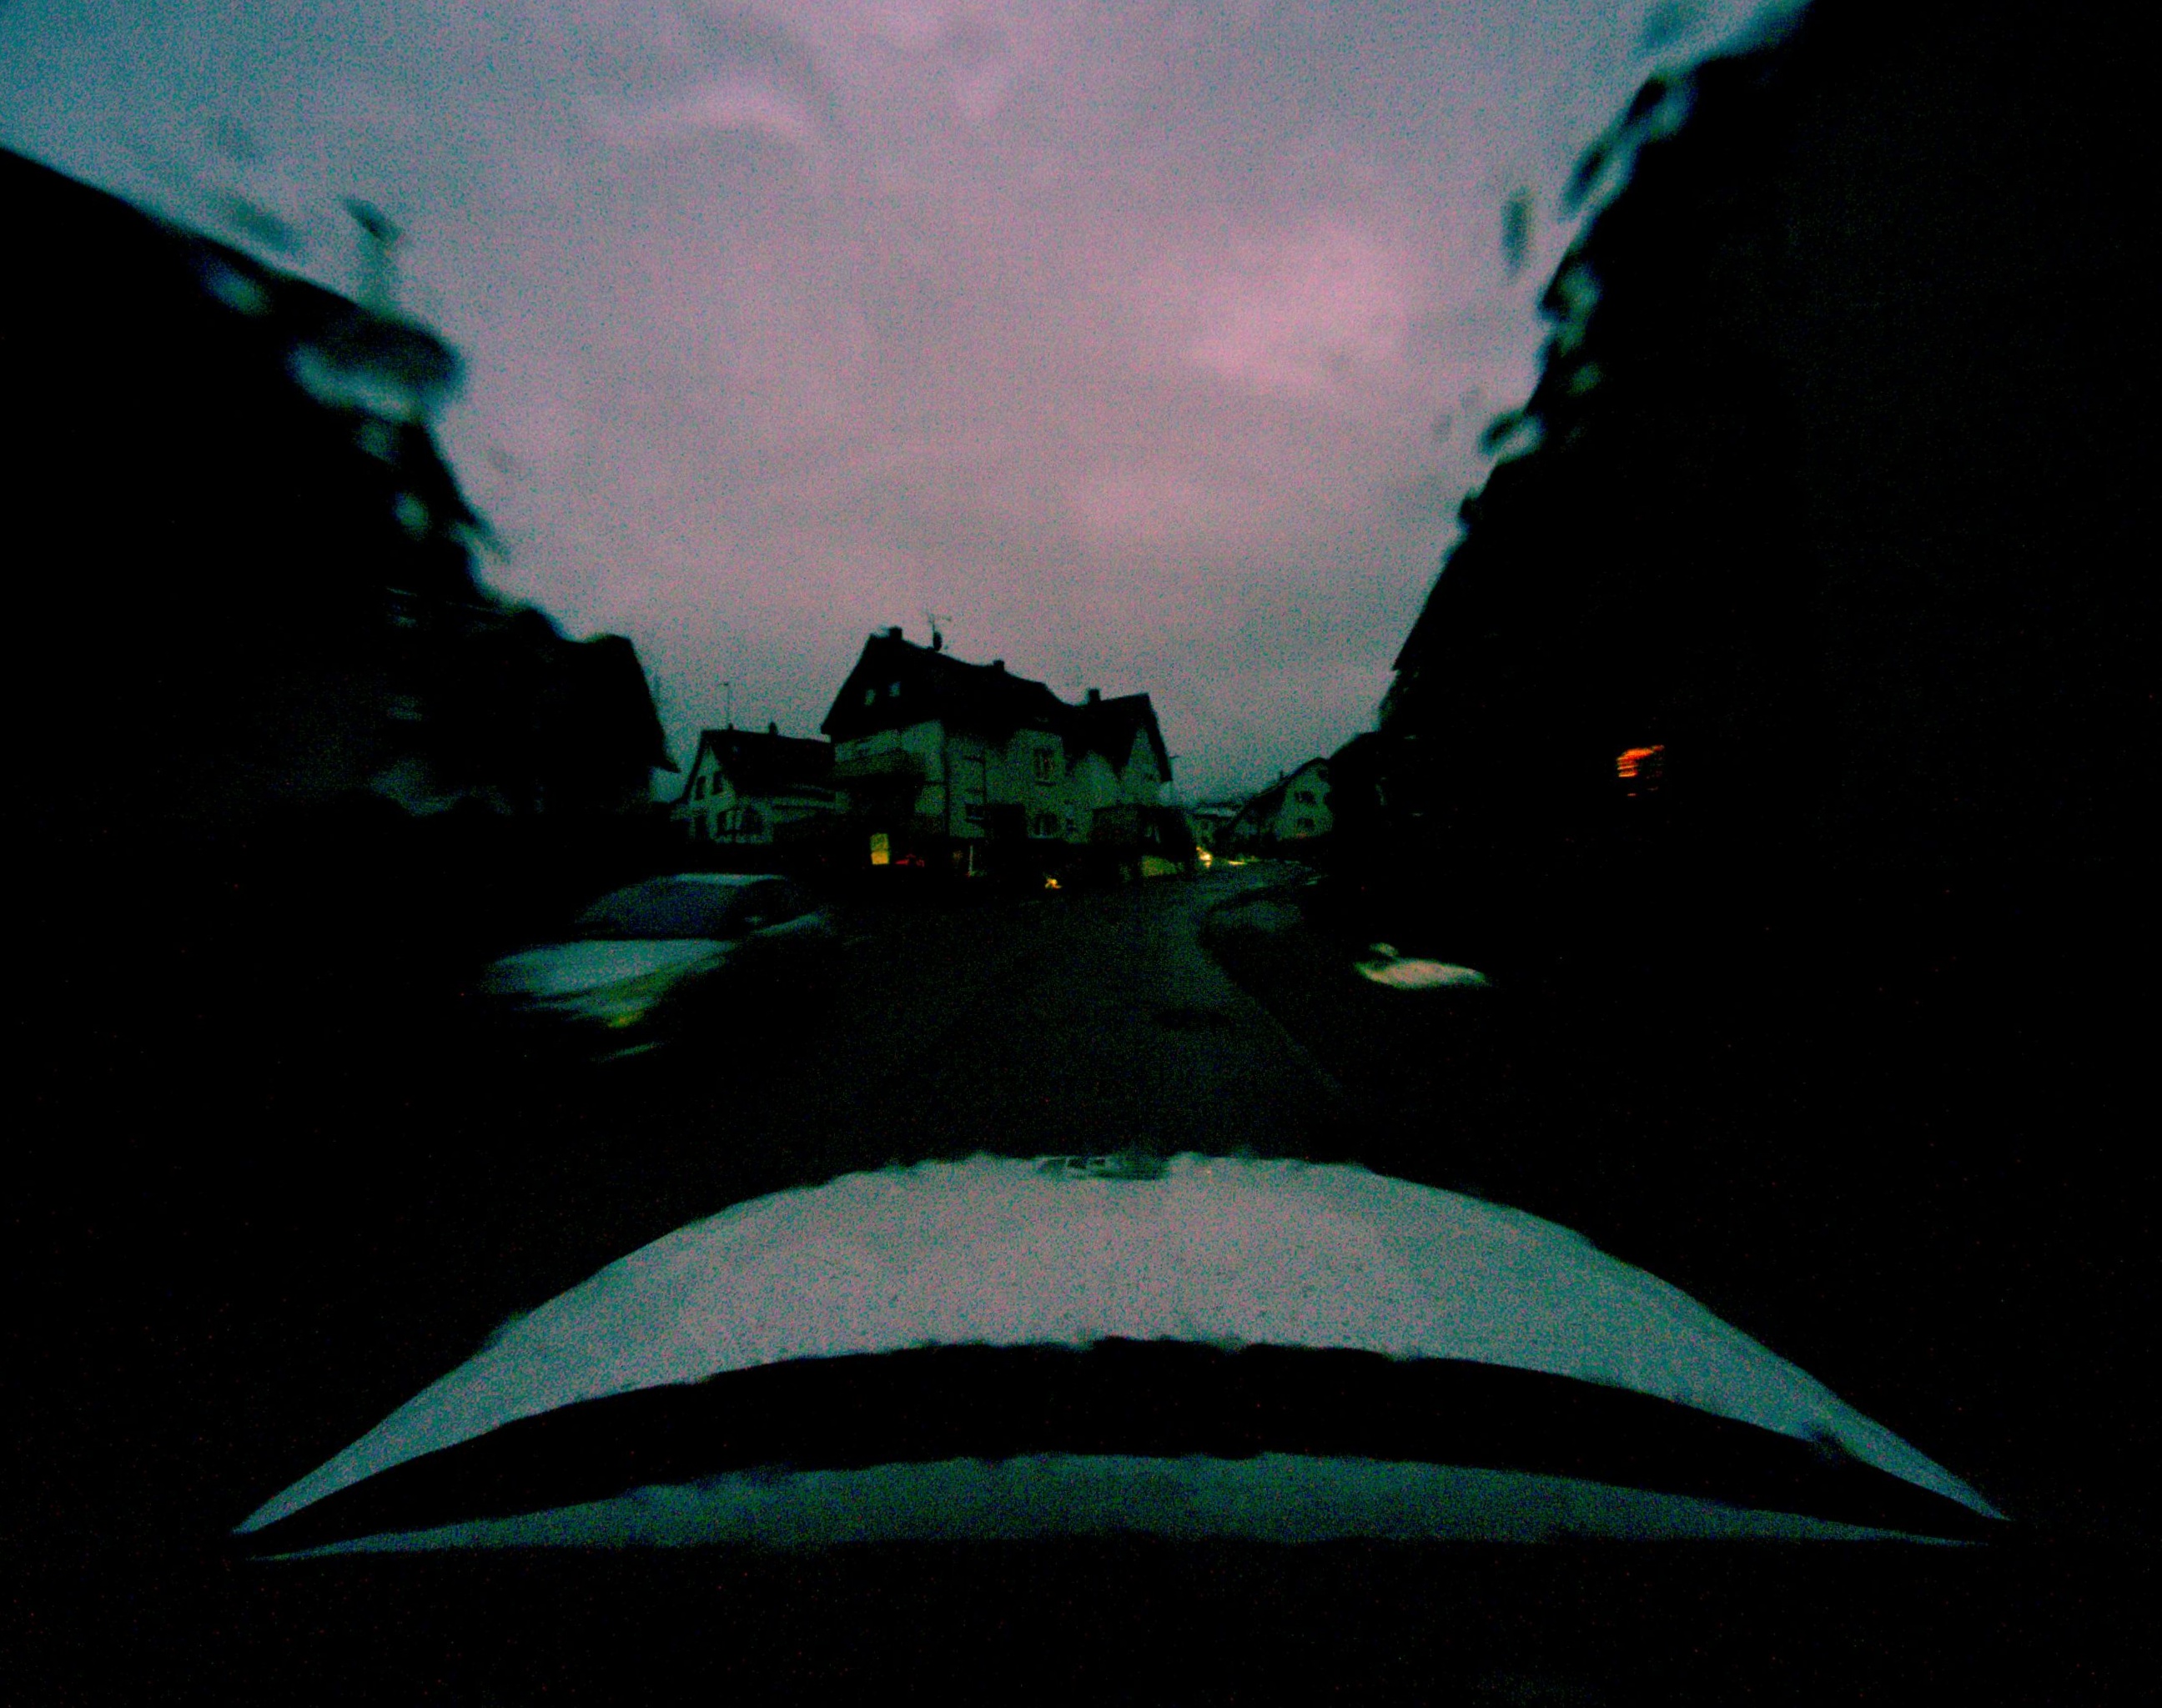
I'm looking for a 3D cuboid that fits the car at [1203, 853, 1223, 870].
[{"bbox_3d":[18.020,0.988,110.852,2.095,2.027,5.003,-4,-1,15],"label":"car"}]

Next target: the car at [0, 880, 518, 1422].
[{"bbox_3d":[-3.916,0.870,2.214,1.816,1.440,4.069,-1,0,2],"label":"car"}]

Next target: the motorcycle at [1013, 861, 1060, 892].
[{"bbox_3d":[-1.929,0.952,34.999,1.061,1.298,2.215,-1,0,-34],"label":"motorcycle"}]

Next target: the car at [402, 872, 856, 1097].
[{"bbox_3d":[-3.604,0.919,7.521,1.742,1.388,4.148,-1,0,2],"label":"car"}]

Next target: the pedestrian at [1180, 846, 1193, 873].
[{"bbox_3d":[6.917,0.342,53.291,0.593,1.733,0.816,-2,-2,22],"label":"pedestrian"}]

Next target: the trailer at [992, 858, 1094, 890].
[{"bbox_3d":[-1.683,0.901,37.544,2.038,1.168,4.900,-2,1,36],"label":"trailer"}]
